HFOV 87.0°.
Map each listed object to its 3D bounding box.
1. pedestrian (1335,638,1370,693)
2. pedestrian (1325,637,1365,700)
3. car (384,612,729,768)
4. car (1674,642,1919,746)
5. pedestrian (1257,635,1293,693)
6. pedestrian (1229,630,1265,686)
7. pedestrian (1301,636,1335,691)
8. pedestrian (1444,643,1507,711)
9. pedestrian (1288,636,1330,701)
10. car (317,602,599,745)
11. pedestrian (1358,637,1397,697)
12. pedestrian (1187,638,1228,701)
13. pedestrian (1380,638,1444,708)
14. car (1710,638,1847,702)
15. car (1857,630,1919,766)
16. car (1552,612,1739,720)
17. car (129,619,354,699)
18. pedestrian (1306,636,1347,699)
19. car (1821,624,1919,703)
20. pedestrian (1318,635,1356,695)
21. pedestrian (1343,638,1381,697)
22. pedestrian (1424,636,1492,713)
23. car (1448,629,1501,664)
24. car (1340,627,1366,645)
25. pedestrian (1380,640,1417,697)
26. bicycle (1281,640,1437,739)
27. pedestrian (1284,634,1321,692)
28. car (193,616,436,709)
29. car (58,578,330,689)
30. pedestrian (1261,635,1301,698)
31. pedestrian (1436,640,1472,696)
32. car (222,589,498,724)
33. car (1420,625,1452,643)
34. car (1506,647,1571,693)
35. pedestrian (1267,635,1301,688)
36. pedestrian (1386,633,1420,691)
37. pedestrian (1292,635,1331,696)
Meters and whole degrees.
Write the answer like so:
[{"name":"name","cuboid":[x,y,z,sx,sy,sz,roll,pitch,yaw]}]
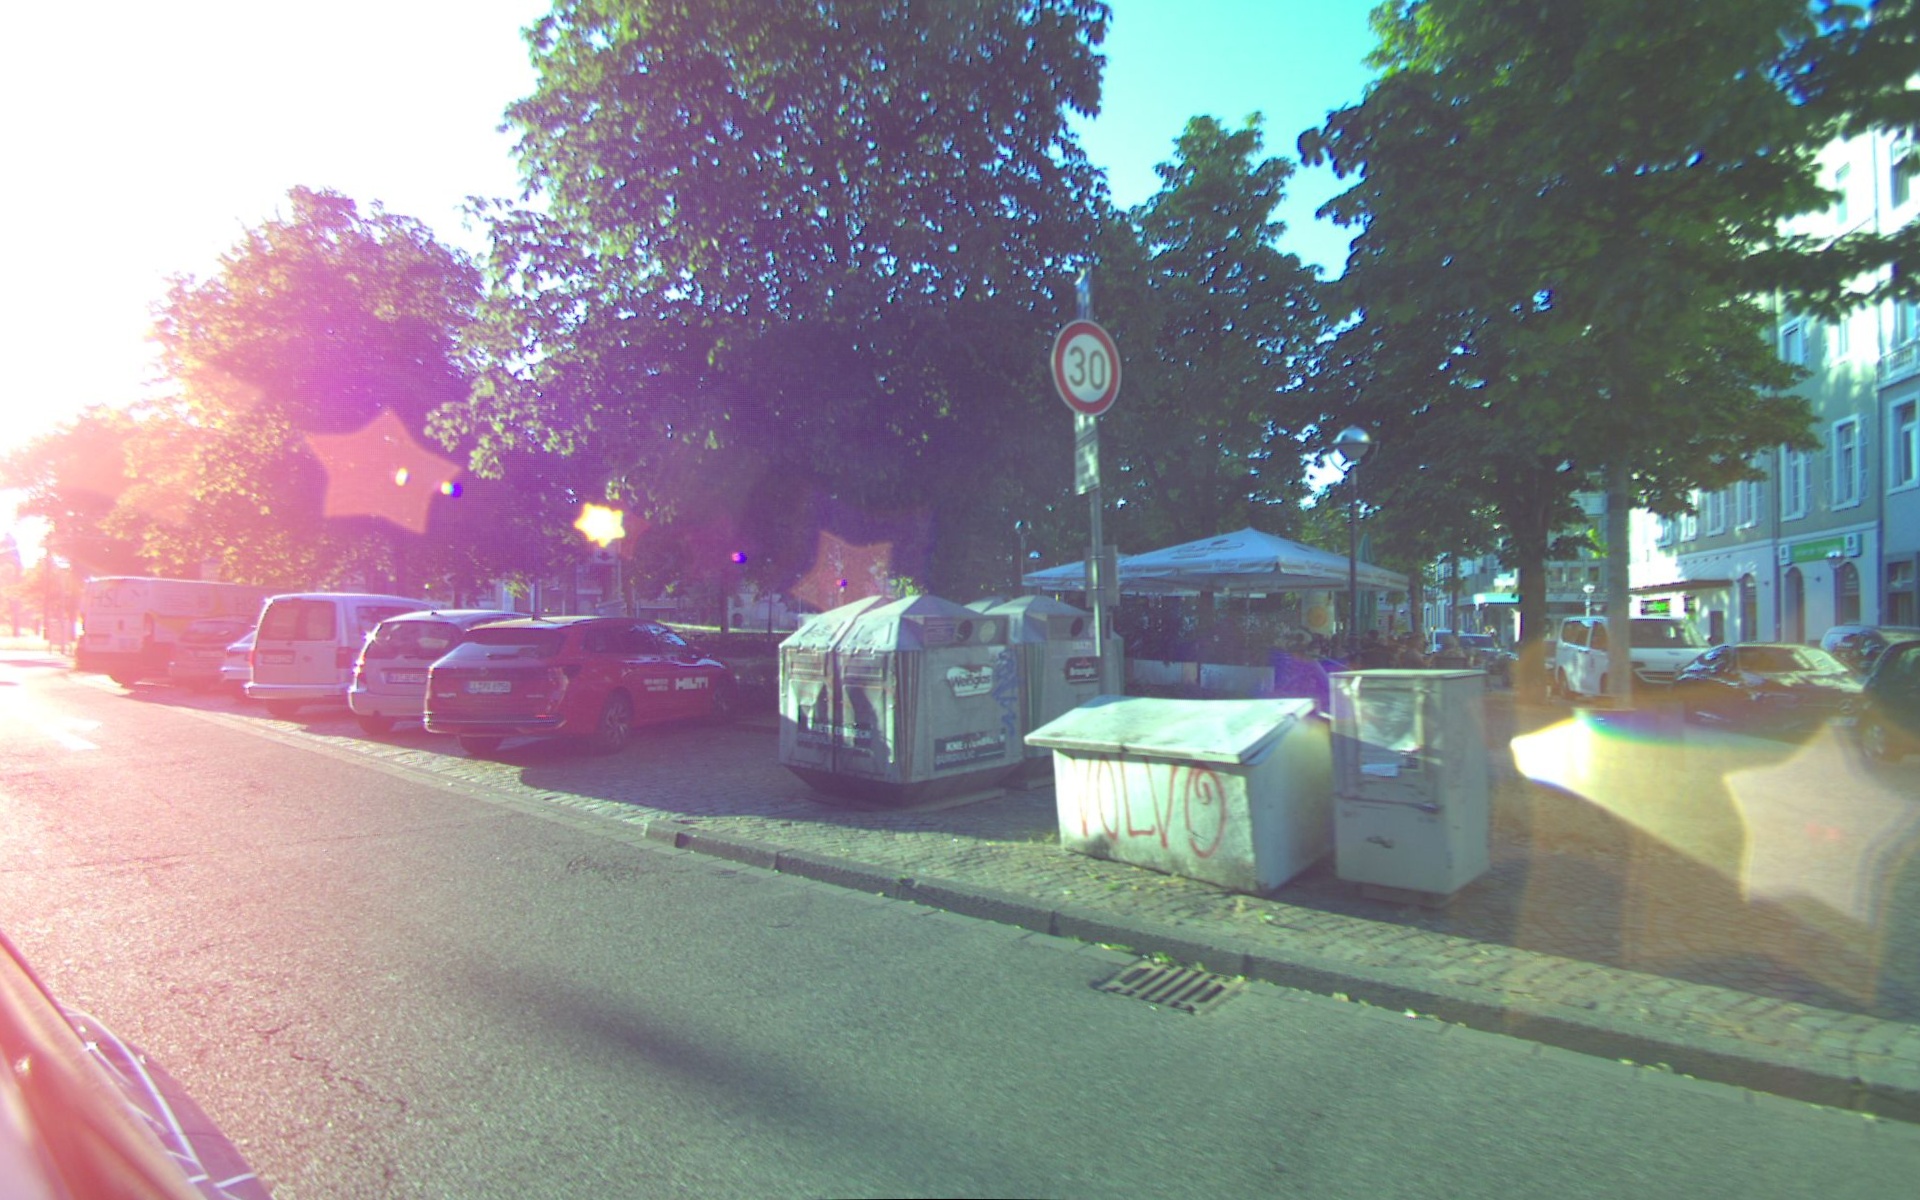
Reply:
[{"name":"pedestrian","cuboid":[8.517,1.413,21.955,0.527,1.183,0.527,4,-4,-41]},{"name":"pedestrian","cuboid":[7.406,1.319,19.470,0.527,1.183,0.527,4,-4,-41]},{"name":"car","cuboid":[-4.425,0.910,11.872,1.978,1.497,3.987,0,-1,10]},{"name":"car","cuboid":[12.429,1.306,15.050,1.815,1.247,3.750,-1,-1,17]},{"name":"pedestrian","cuboid":[6.587,1.335,21.161,0.527,1.183,0.527,4,-4,-41]},{"name":"pedestrian","cuboid":[6.116,1.233,21.567,0.527,1.183,0.527,4,-4,-41]},{"name":"pedestrian","cuboid":[7.920,1.399,22.398,0.527,1.183,0.527,4,-4,-41]},{"name":"pedestrian","cuboid":[9.047,1.342,17.770,0.850,1.140,0.787,-2,-4,37]},{"name":"pedestrian","cuboid":[6.423,1.254,18.635,0.527,1.164,0.527,4,-4,-41]},{"name":"car","cuboid":[-6.808,0.905,14.255,1.728,1.709,3.993,-1,0,6]},{"name":"pedestrian","cuboid":[8.297,1.330,20.135,0.527,1.183,0.527,4,-4,-41]},{"name":"pedestrian","cuboid":[4.742,1.331,19.404,0.572,1.181,0.535,3,-4,-41]},{"name":"pedestrian","cuboid":[7.823,1.254,17.527,0.850,1.167,0.787,-2,-4,37]},{"name":"car","cuboid":[21.277,1.772,26.470,1.600,1.493,3.593,-1,-1,19]},{"name":"car","cuboid":[10.575,1.001,9.604,1.691,1.391,3.507,-1,-1,16]},{"name":"car","cuboid":[14.276,1.274,21.437,2.027,2.002,4.801,-1,-1,19]},{"name":"car","cuboid":[-14.656,1.143,20.967,1.856,1.479,4.000,-1,-1,0]},{"name":"pedestrian","cuboid":[6.895,1.262,19.042,0.527,1.164,0.527,4,-4,-41]},{"name":"car","cuboid":[19.478,1.227,20.424,1.825,1.451,3.956,-1,-1,19]},{"name":"pedestrian","cuboid":[7.623,1.315,20.473,0.527,1.183,0.527,4,-4,-41]},{"name":"pedestrian","cuboid":[8.347,1.387,21.030,0.556,1.200,0.523,2,-3,-41]},{"name":"pedestrian","cuboid":[8.075,1.194,16.418,0.850,1.208,0.787,-2,-4,37]},{"name":"car","cuboid":[24.857,2.232,49.003,1.741,1.606,3.357,-1,-1,18]},{"name":"car","cuboid":[37.079,3.416,95.530,1.983,1.630,3.977,0,-1,18]},{"name":"pedestrian","cuboid":[9.270,1.437,21.390,0.527,1.183,0.527,4,-4,-41]},{"name":"bicycle","cuboid":[4.729,1.030,12.127,0.355,1.076,1.814,0,-2,-36]},{"name":"pedestrian","cuboid":[7.030,1.293,20.792,0.527,1.183,0.527,4,-4,-41]},{"name":"car","cuboid":[-11.772,1.078,18.823,1.826,1.503,3.996,-1,-1,3]},{"name":"car","cuboid":[-17.210,0.712,23.082,2.182,2.268,4.591,-1,-1,15]},{"name":"pedestrian","cuboid":[6.043,1.252,19.049,0.527,1.163,0.527,4,-4,-41]},{"name":"pedestrian","cuboid":[10.761,1.477,22.063,0.527,1.183,0.527,4,-4,-41]},{"name":"car","cuboid":[-9.430,0.848,16.342,1.848,1.892,3.993,-1,-1,6]},{"name":"car","cuboid":[36.996,2.633,78.697,1.891,1.343,3.699,0,-1,20]},{"name":"car","cuboid":[15.591,1.864,27.349,1.067,1.097,2.467,-1,-1,19]},{"name":"pedestrian","cuboid":[7.273,1.377,22.717,0.527,1.183,0.527,4,-4,-41]},{"name":"pedestrian","cuboid":[10.118,1.415,23.109,0.527,1.285,0.527,3,-3,-41]},{"name":"pedestrian","cuboid":[6.940,1.296,19.974,0.527,1.183,0.527,4,-4,-41]}]
